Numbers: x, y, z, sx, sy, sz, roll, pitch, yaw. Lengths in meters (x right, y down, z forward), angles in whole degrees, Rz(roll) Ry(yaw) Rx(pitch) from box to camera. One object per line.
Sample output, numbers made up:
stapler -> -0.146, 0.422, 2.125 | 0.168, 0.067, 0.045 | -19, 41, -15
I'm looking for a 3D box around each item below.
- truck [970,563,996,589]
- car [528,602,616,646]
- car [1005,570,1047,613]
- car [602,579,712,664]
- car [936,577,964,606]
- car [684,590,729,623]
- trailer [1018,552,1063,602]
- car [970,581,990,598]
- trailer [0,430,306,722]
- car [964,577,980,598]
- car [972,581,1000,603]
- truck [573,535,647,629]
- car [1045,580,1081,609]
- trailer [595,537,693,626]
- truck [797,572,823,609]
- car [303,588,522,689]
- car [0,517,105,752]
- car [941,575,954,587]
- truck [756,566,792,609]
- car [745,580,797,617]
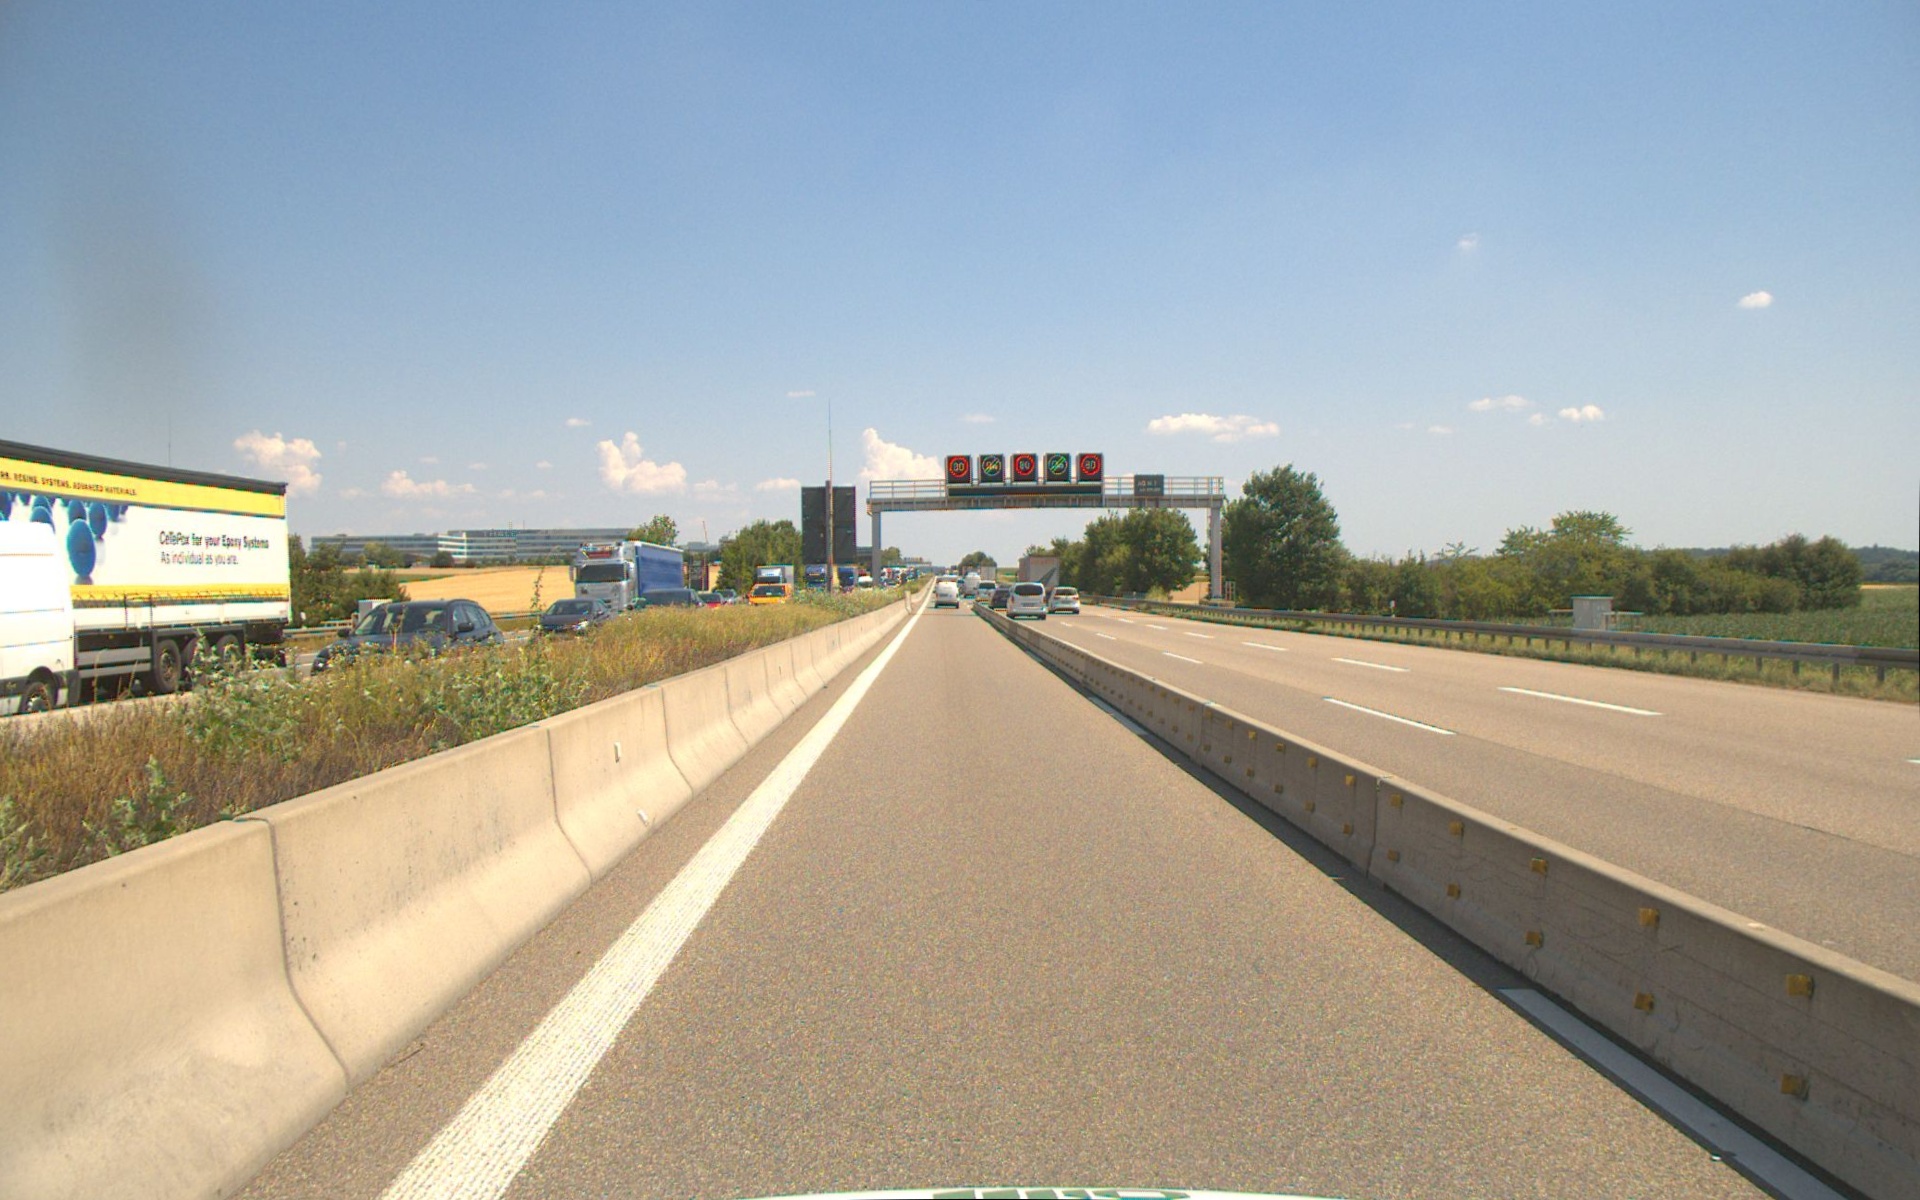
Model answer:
truck -> 3.615, -3.845, 264.074 | 3.738, 3.973, 9.578 | -1, 0, -1
car -> -11.829, 0.724, 50.727 | 1.712, 1.288, 4.433 | 1, -1, -1
car -> 3.392, -0.413, 85.627 | 1.953, 2.157, 3.999 | 0, 0, -1
car -> -7.701, 0.505, 42.503 | 1.953, 2.049, 4.685 | 0, 1, 0
car -> -0.744, -0.598, 117.905 | 1.953, 2.049, 3.999 | 0, 0, -1
car -> -12.246, 0.309, 80.031 | 1.555, 1.534, 4.228 | -1, 0, 0
trailer -> 6.734, -1.842, 138.987 | 3.211, 4.036, 9.110 | 0, 0, -1
car -> 1.755, -0.916, 145.950 | 1.737, 1.472, 3.999 | 0, 0, -1
trailer -> -15.287, -0.362, 28.324 | 2.753, 4.200, 14.127 | -1, 1, -1
car -> 1.354, -1.404, 189.975 | 1.737, 2.434, 3.999 | 0, 0, -1
car -> 1.751, -0.525, 111.692 | 1.737, 1.472, 3.999 | 0, 0, -1
truck -> -16.019, -0.838, 75.968 | 2.362, 4.158, 4.659 | -1, 0, 0
car -> 6.431, -0.334, 103.447 | 1.953, 1.825, 3.999 | 0, 0, -1
trailer -> -16.048, -0.913, 85.048 | 2.337, 4.158, 14.096 | -1, 0, 0
truck -> -18.200, -1.152, 200.627 | 2.540, 4.312, 4.853 | -3, 0, -1
car -> -8.122, 0.553, 25.027 | 1.743, 1.358, 4.928 | 1, -1, -1
car -> -11.394, 0.397, 17.233 | 2.005, 2.545, 5.811 | -1, 0, -1
car -> -1.907, -2.883, 254.139 | 1.953, 1.868, 3.999 | 0, 0, -1
truck -> -16.764, -1.135, 149.042 | 2.643, 3.650, 4.000 | -2, 0, 0
car -> -8.560, -0.055, 75.355 | 1.856, 1.606, 4.935 | 1, -1, -1
